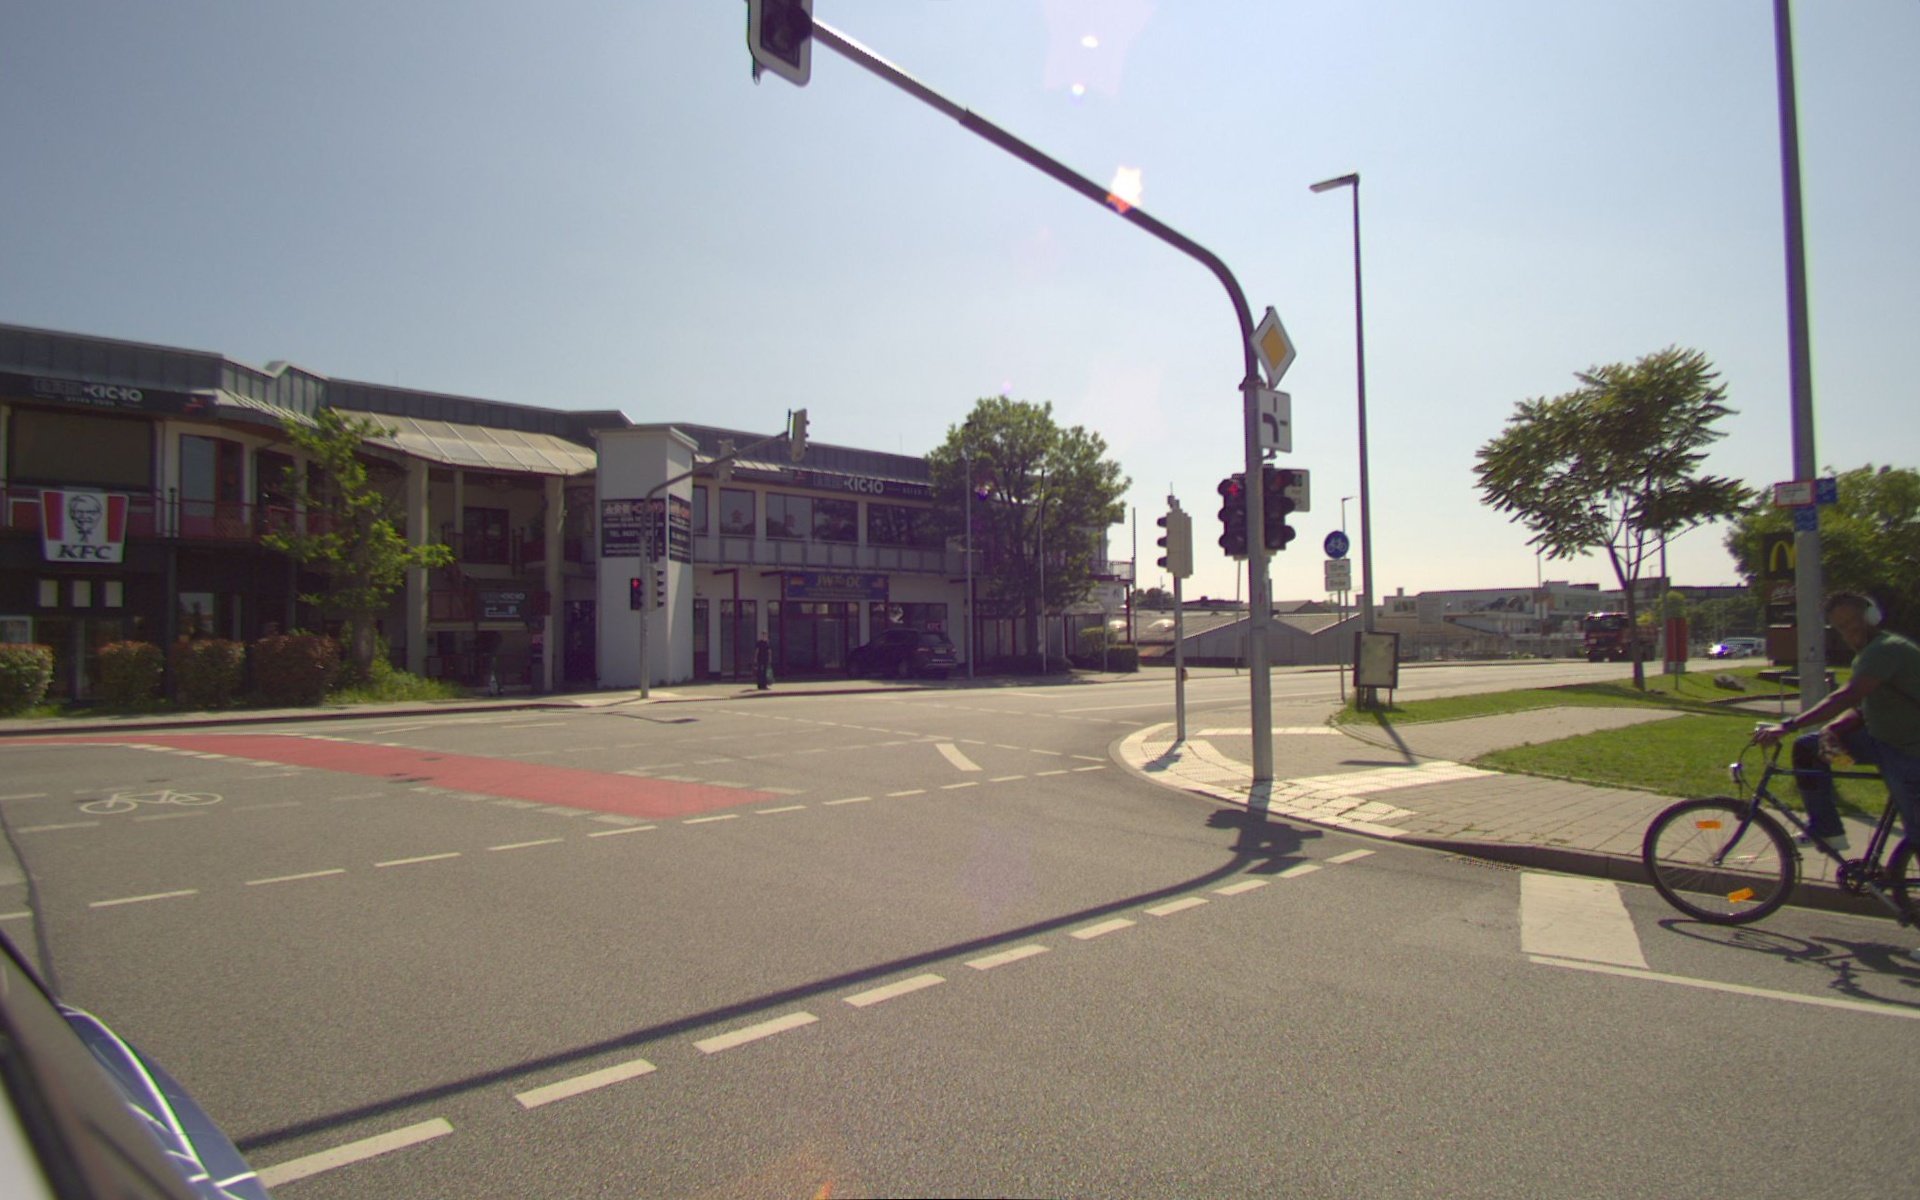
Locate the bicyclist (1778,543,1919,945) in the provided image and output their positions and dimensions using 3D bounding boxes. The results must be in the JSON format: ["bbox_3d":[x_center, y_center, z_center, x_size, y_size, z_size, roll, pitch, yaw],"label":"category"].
[{"bbox_3d":[4.511,0.661,4.854,0.807,1.802,0.704,-3,-4,36],"label":"bicyclist"}]

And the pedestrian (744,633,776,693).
[{"bbox_3d":[-5.685,1.769,28.704,0.721,1.658,0.844,0,-3,-23],"label":"pedestrian"}]

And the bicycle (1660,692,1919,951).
[{"bbox_3d":[4.461,1.029,4.868,1.751,1.113,0.691,-3,-4,36],"label":"bicycle"}]

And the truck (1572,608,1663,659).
[{"bbox_3d":[46.707,2.393,71.757,9.031,3.412,3.317,1,-4,-44],"label":"truck"}]

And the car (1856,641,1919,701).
[{"bbox_3d":[26.666,1.933,28.119,4.120,1.564,1.869,1,-3,-38],"label":"car"}]

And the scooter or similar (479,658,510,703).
[{"bbox_3d":[-12.219,2.099,26.553,0.492,1.132,1.508,1,-3,-34],"label":"scooter or similar"}]

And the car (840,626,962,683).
[{"bbox_3d":[-2.170,1.928,36.068,1.781,1.870,4.664,2,-4,-43],"label":"car"}]
